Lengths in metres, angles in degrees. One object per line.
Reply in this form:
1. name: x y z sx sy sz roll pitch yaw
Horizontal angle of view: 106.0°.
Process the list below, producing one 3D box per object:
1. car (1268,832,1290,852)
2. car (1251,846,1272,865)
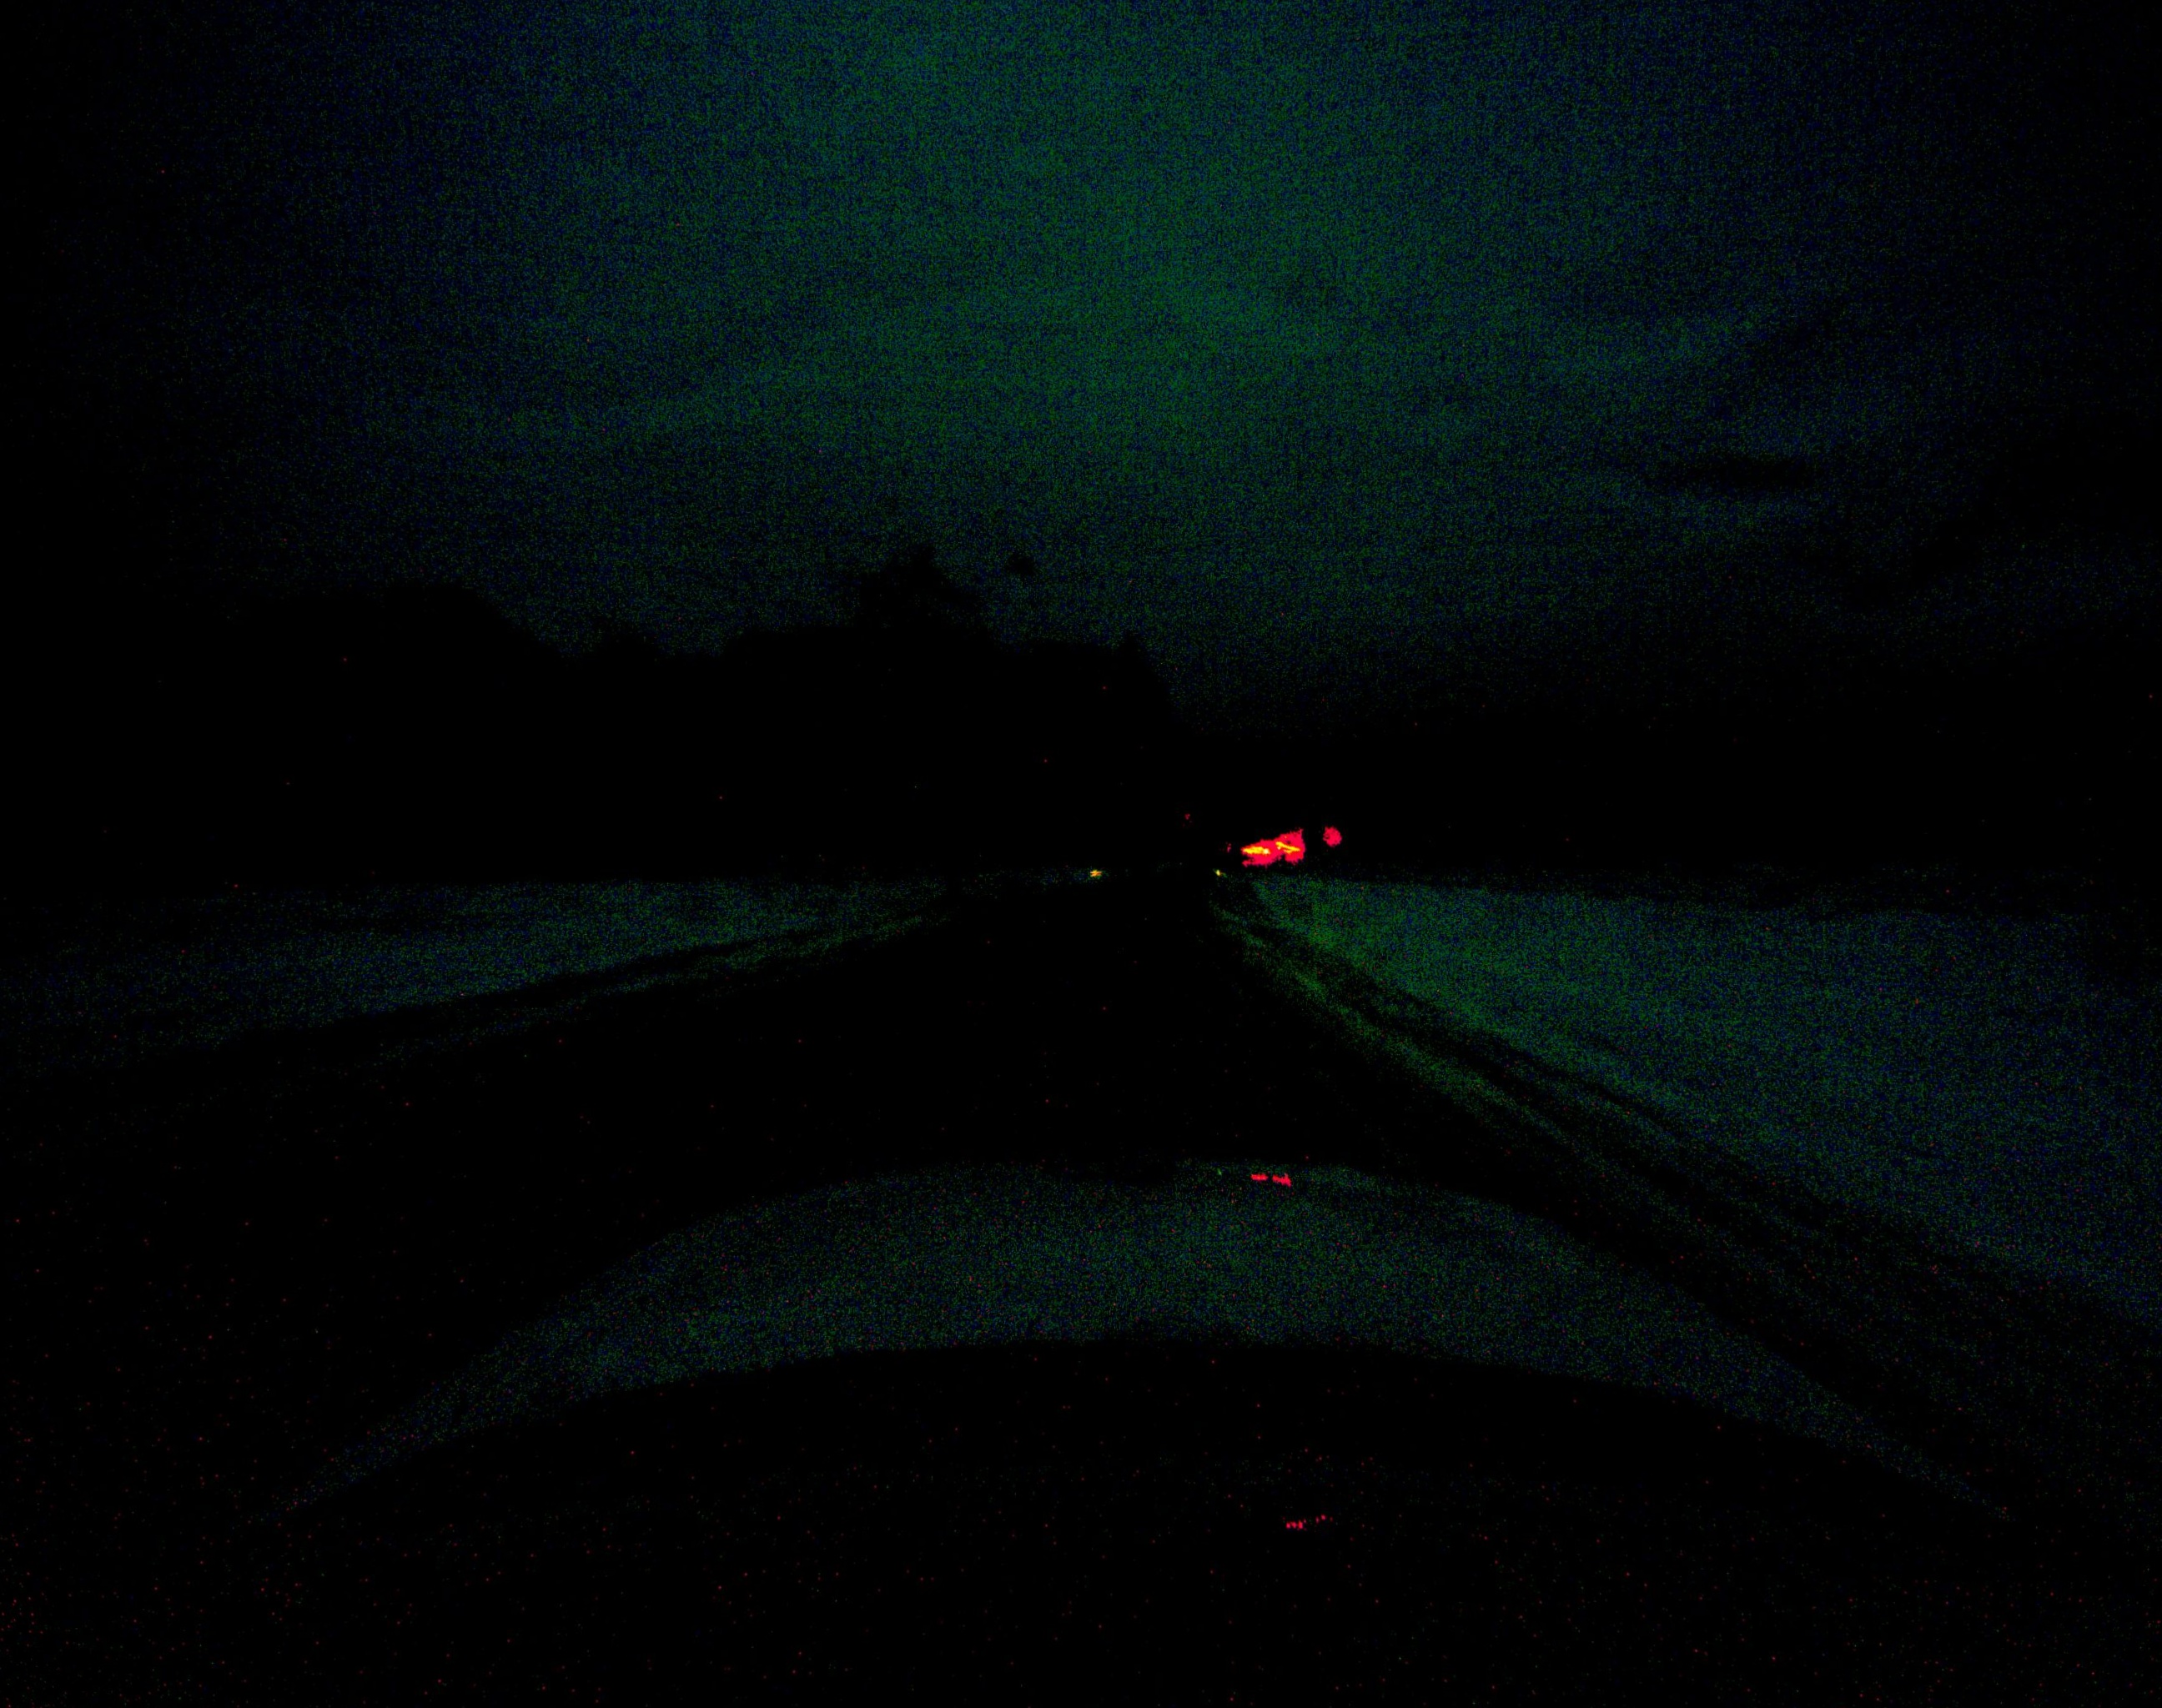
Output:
1. car: 27.981 -1.700 114.947 2.232 2.645 5.034 -2 0 23
2. car: 20.675 0.176 93.021 1.978 2.051 4.019 0 1 18
